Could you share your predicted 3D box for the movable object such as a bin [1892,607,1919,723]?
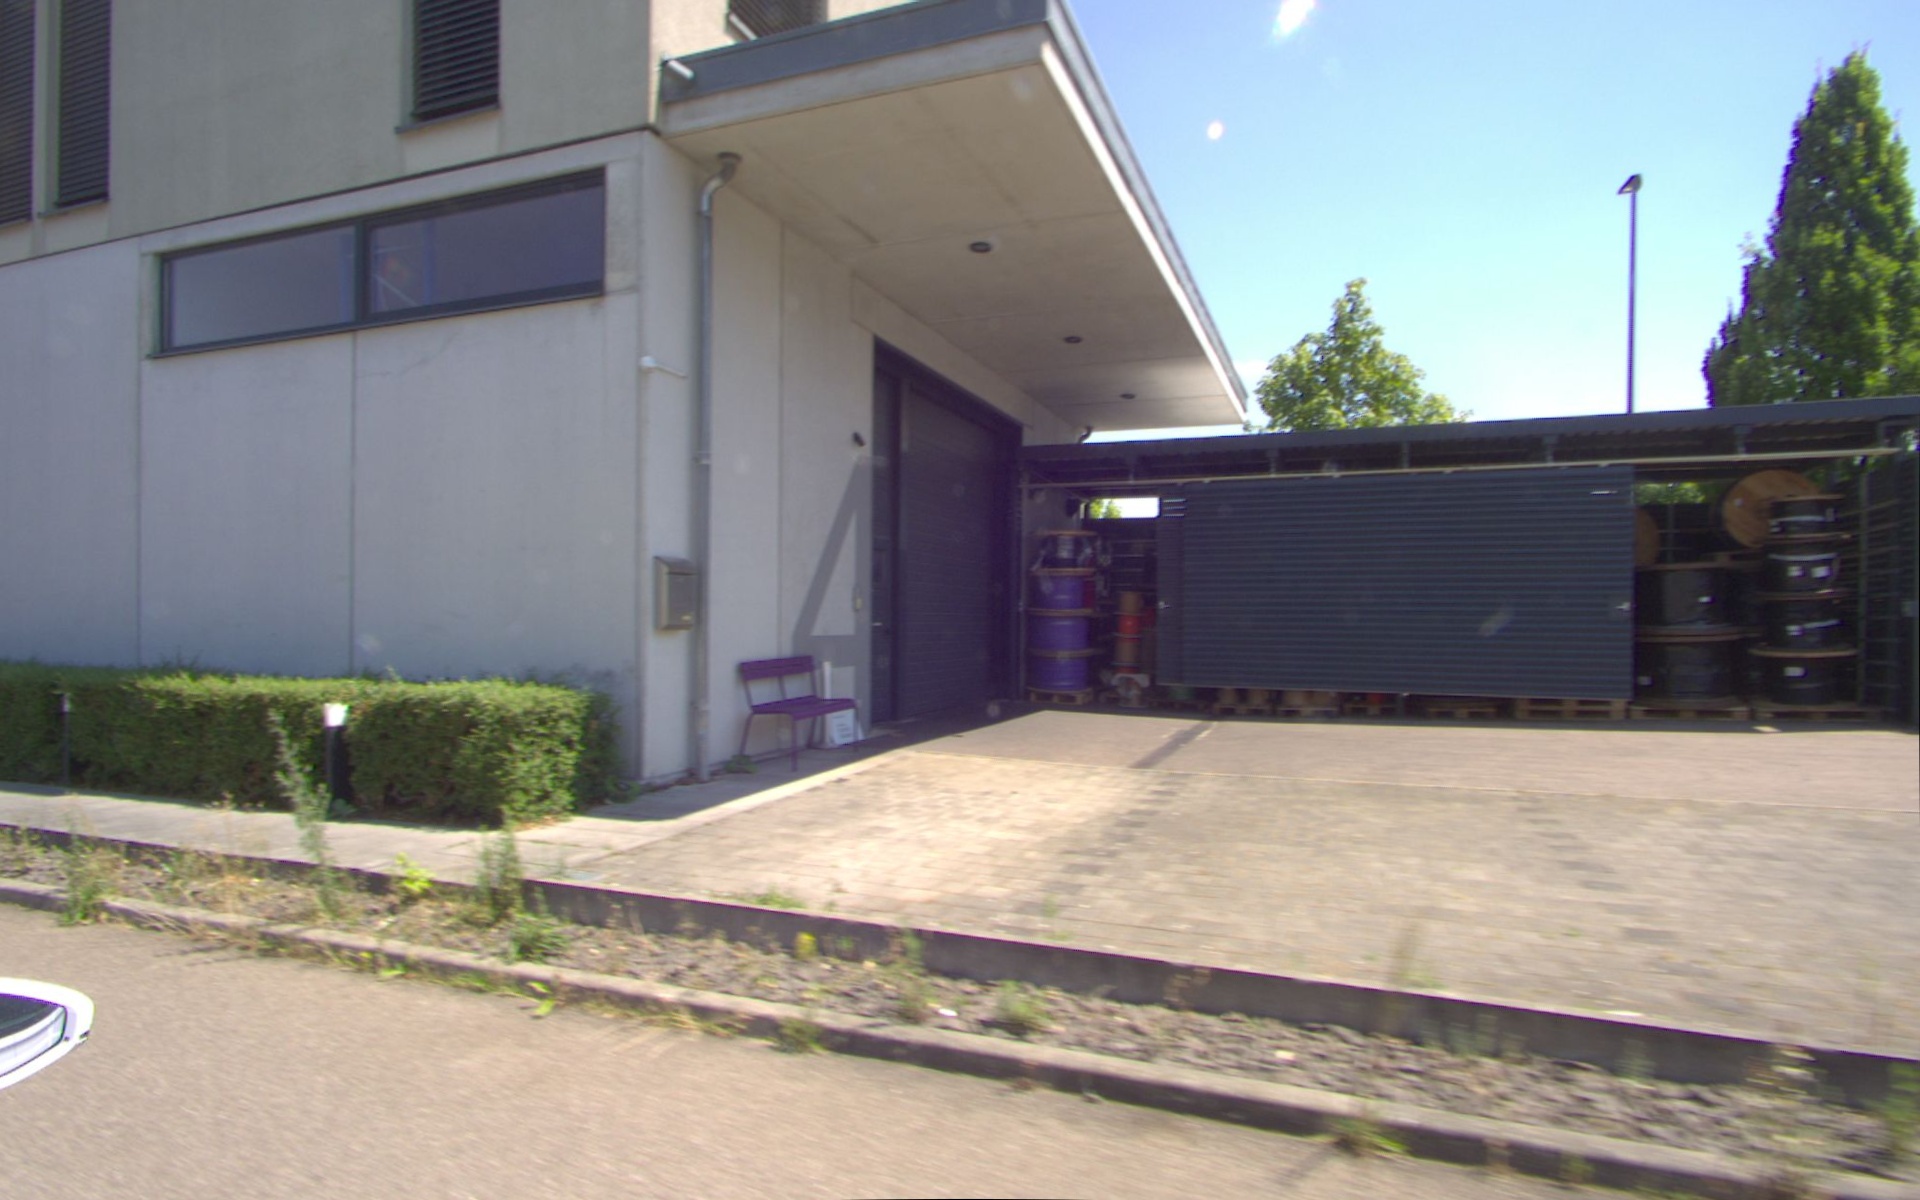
[{"bbox_3d":[11.486,0.740,11.632,0.789,1.315,0.753,-1,0,30],"label":"movable object such as a bin"}]
